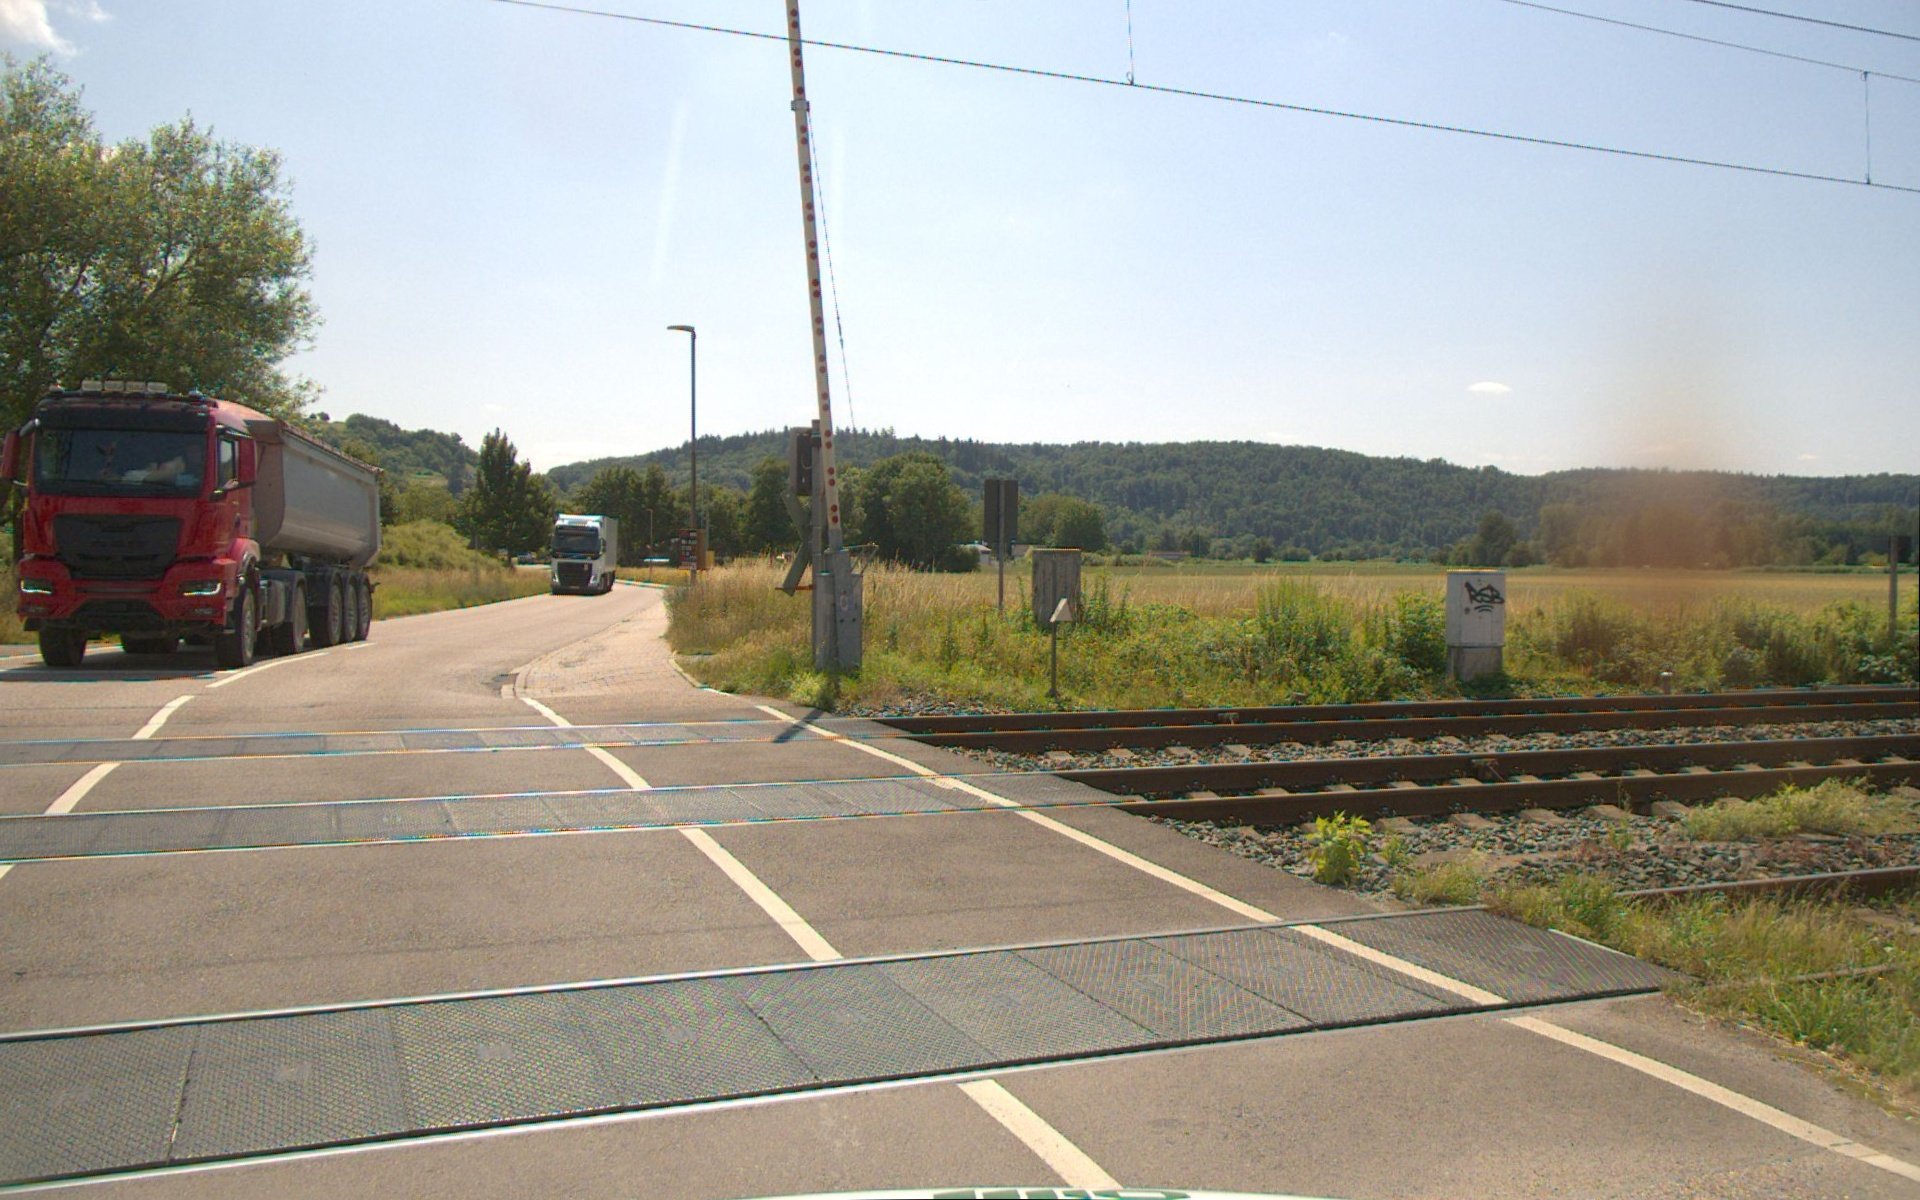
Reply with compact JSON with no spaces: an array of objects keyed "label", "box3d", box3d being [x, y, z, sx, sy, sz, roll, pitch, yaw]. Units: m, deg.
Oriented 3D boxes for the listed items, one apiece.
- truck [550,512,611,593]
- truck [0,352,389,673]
[{"label":"truck","box3d":[-19.539,-2.438,85.358,2.523,4.017,6.028,0,1,-8]},{"label":"truck","box3d":[-11.409,-1.162,25.848,2.820,3.810,12.120,0,1,-10]}]
